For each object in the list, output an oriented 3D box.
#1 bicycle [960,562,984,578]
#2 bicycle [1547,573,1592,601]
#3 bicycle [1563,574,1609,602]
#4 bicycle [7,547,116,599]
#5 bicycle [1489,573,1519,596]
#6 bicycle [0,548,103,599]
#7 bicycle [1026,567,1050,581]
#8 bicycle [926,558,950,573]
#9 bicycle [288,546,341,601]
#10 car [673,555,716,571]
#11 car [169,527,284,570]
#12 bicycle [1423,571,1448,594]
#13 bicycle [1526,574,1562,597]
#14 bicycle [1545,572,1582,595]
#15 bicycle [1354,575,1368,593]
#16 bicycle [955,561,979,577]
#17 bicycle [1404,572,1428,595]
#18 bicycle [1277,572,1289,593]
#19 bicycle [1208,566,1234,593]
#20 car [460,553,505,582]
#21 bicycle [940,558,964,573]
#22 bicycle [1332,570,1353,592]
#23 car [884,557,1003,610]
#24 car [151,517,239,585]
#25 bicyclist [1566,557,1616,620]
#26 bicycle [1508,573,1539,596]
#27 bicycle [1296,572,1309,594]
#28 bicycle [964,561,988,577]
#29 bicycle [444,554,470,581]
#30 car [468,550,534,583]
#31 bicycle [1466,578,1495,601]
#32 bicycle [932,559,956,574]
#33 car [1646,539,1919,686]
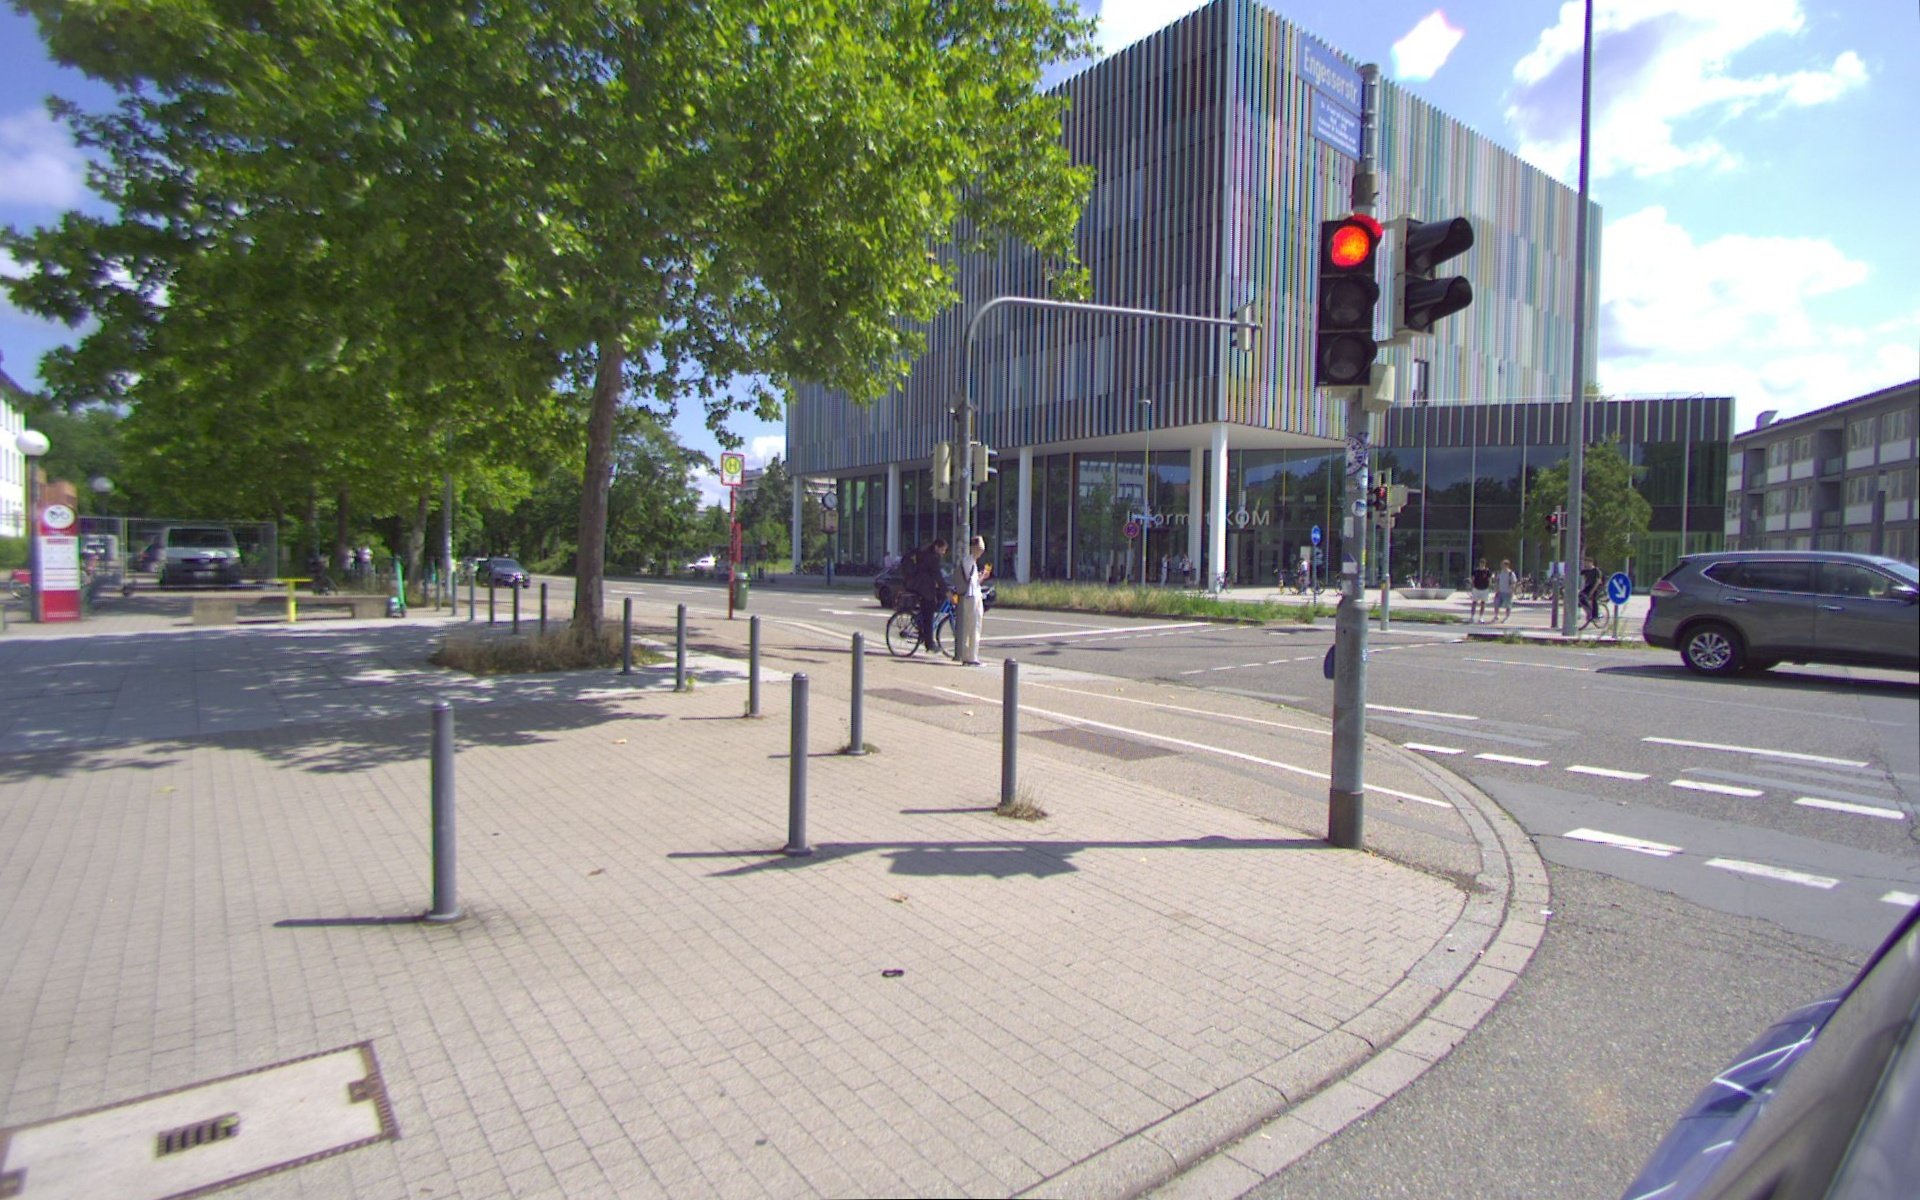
[{"bbox_3d":[0.773,-1.930,64.572,1.514,0.967,0.374,-2,3,-23],"label":"bicycle"},{"bbox_3d":[22.161,-0.479,36.816,0.519,0.967,1.774,1,3,0],"label":"bicycle"},{"bbox_3d":[22.745,-0.444,36.805,0.519,0.967,1.774,1,3,0],"label":"bicycle"},{"bbox_3d":[-20.376,-0.646,22.991,0.597,1.112,1.756,1,4,21],"label":"bicycle"},{"bbox_3d":[24.269,-0.717,45.157,0.520,0.967,1.771,1,3,6],"label":"bicycle"},{"bbox_3d":[-20.978,-0.634,23.347,0.597,1.112,1.756,1,4,21],"label":"bicycle"},{"bbox_3d":[4.644,-1.533,60.223,1.517,0.785,0.374,-2,3,-34],"label":"bicycle"},{"bbox_3d":[-1.442,-2.298,66.856,1.514,0.967,0.374,-2,3,-23],"label":"bicycle"},{"bbox_3d":[-14.705,-0.629,23.089,0.783,1.197,2.035,-1,3,-27],"label":"bicycle"},{"bbox_3d":[-26.883,-3.803,102.512,3.754,1.529,1.902,-2,4,-32],"label":"car"},{"bbox_3d":[-32.225,-2.293,44.505,3.931,1.804,1.998,-3,4,-41],"label":"car"},{"bbox_3d":[21.525,-0.812,45.849,0.520,0.967,1.770,-2,3,9],"label":"bicycle"},{"bbox_3d":[25.746,-0.645,44.636,0.519,0.967,1.774,1,3,0],"label":"bicycle"},{"bbox_3d":[26.458,-0.741,44.411,0.519,0.967,1.774,1,3,0],"label":"bicycle"},{"bbox_3d":[18.533,-0.738,46.757,0.522,0.773,1.762,2,3,20],"label":"bicycle"},{"bbox_3d":[0.432,-2.015,65.163,1.514,0.967,0.374,-2,3,-23],"label":"bicycle"},{"bbox_3d":[20.695,-0.754,45.933,0.520,0.966,1.770,1,4,9],"label":"bicycle"},{"bbox_3d":[15.203,-0.825,47.664,0.368,0.967,1.541,1,3,13],"label":"bicycle"},{"bbox_3d":[12.495,-0.986,48.500,1.519,1.201,0.373,-3,5,-39],"label":"bicycle"},{"bbox_3d":[-25.559,-1.733,54.090,1.709,1.468,4.947,2,1,-31],"label":"car"},{"bbox_3d":[-0.498,-2.270,65.961,1.514,0.967,0.374,-2,3,-23],"label":"bicycle"},{"bbox_3d":[17.815,-0.893,47.121,0.525,0.967,1.754,2,3,32],"label":"bicycle"},{"bbox_3d":[-0.577,-0.556,30.245,1.794,1.433,4.197,-1,3,-29],"label":"car"},{"bbox_3d":[-23.288,-1.511,30.741,1.870,1.887,4.936,-1,3,-40],"label":"car"},{"bbox_3d":[16.881,-0.313,27.091,0.988,1.635,0.652,2,2,24],"label":"bicyclist"},{"bbox_3d":[24.875,-0.704,44.716,0.520,0.967,1.771,1,3,6],"label":"bicycle"},{"bbox_3d":[16.173,-0.824,47.829,0.368,0.967,1.767,1,3,13],"label":"bicycle"},{"bbox_3d":[0.999,-1.945,64.031,1.514,0.967,0.374,-2,3,-23],"label":"bicycle"},{"bbox_3d":[-23.216,-1.514,46.692,0.628,1.205,2.118,2,1,-38],"label":"bicycle"},{"bbox_3d":[-22.349,-1.623,49.167,1.828,1.497,4.940,2,0,-37],"label":"car"},{"bbox_3d":[23.475,-0.499,45.629,0.520,0.967,1.771,1,3,6],"label":"bicycle"},{"bbox_3d":[-1.031,-2.190,66.264,1.514,0.967,0.374,-2,3,-23],"label":"bicycle"},{"bbox_3d":[11.553,0.106,12.719,1.790,1.699,4.482,-1,3,-33],"label":"car"}]
